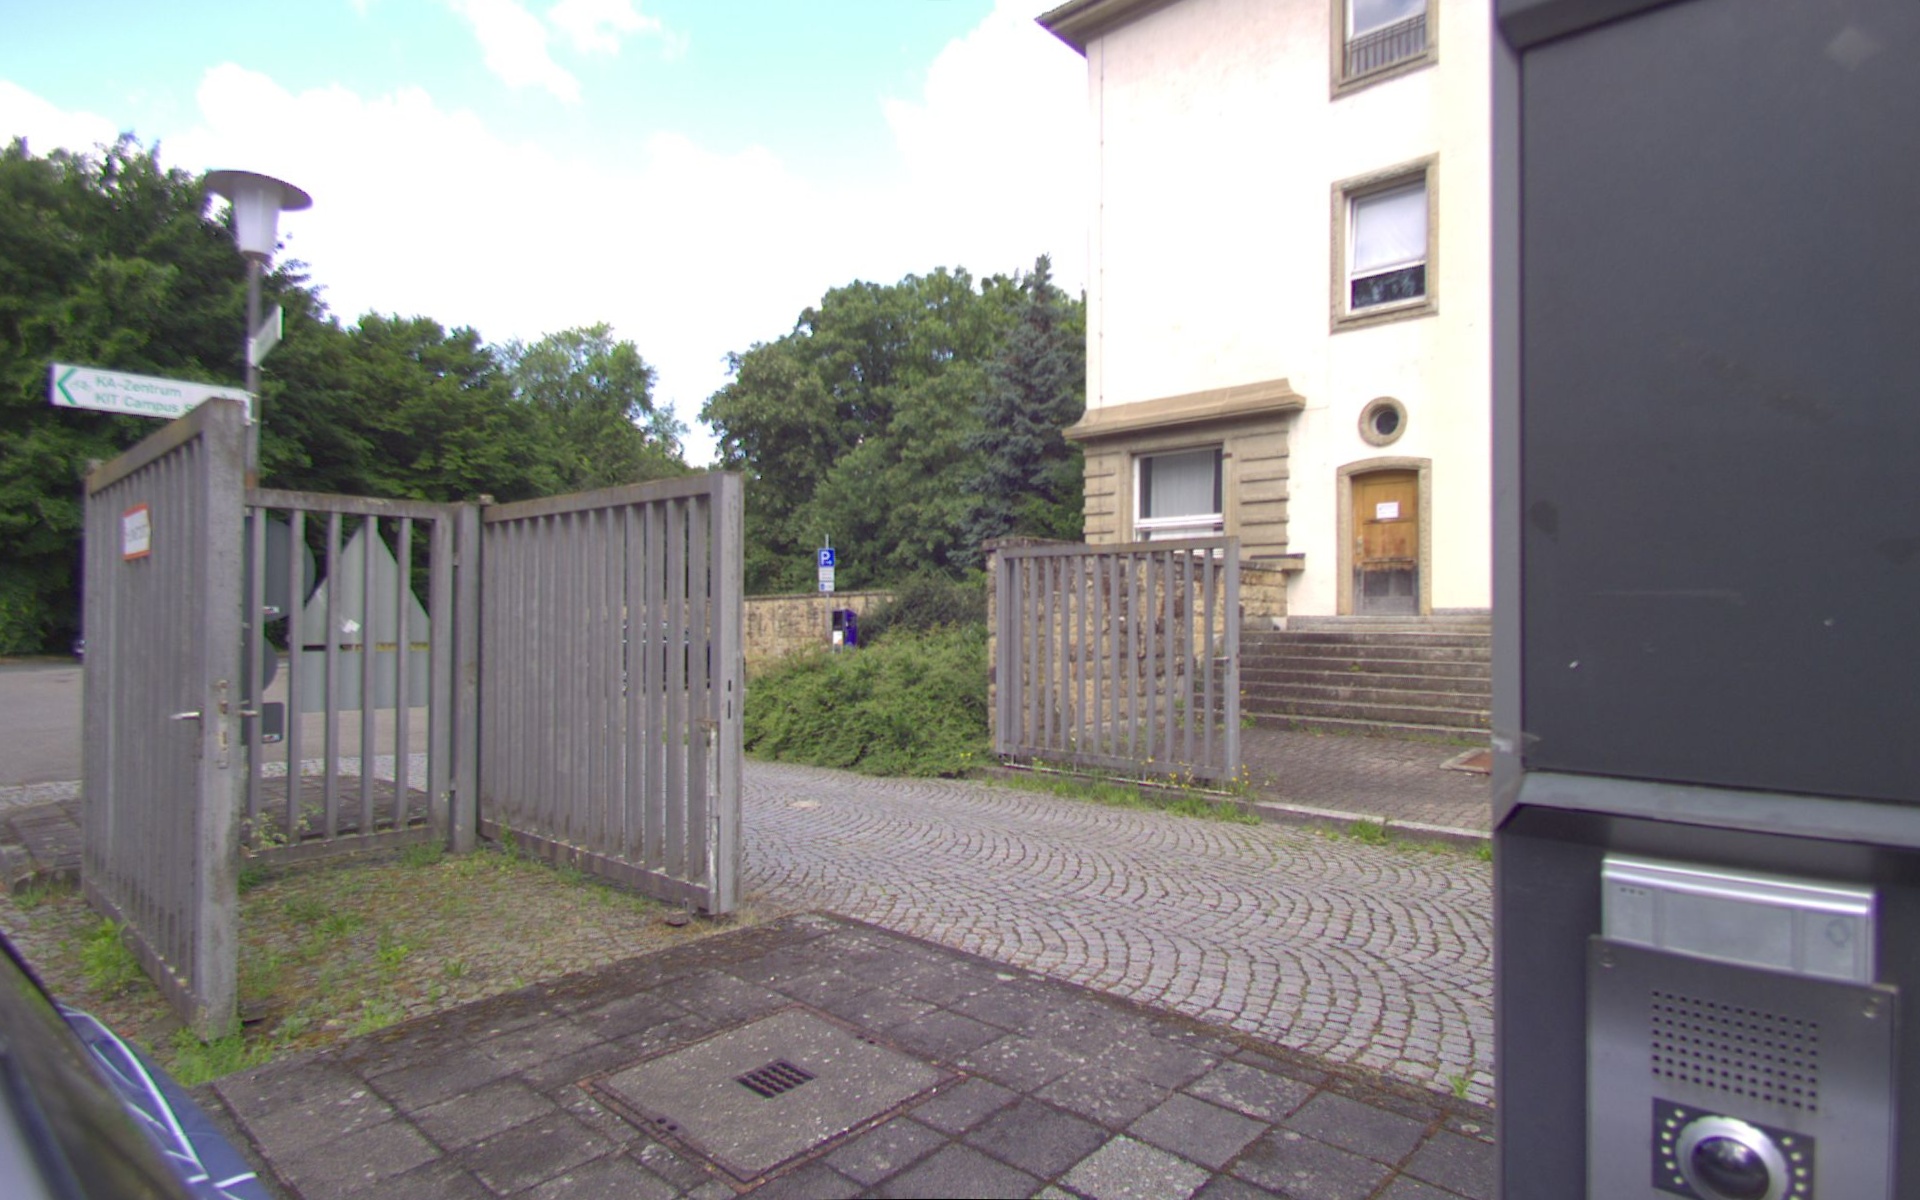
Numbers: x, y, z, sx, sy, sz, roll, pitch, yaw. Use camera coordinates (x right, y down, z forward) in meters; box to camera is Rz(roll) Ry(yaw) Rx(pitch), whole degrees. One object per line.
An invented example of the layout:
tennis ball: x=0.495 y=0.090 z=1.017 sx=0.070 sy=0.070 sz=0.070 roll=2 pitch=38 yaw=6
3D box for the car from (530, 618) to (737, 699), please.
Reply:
car: x=-7.192 y=1.227 z=22.514 sx=1.900 sy=1.558 sz=3.942 roll=-2 pitch=-1 yaw=44
